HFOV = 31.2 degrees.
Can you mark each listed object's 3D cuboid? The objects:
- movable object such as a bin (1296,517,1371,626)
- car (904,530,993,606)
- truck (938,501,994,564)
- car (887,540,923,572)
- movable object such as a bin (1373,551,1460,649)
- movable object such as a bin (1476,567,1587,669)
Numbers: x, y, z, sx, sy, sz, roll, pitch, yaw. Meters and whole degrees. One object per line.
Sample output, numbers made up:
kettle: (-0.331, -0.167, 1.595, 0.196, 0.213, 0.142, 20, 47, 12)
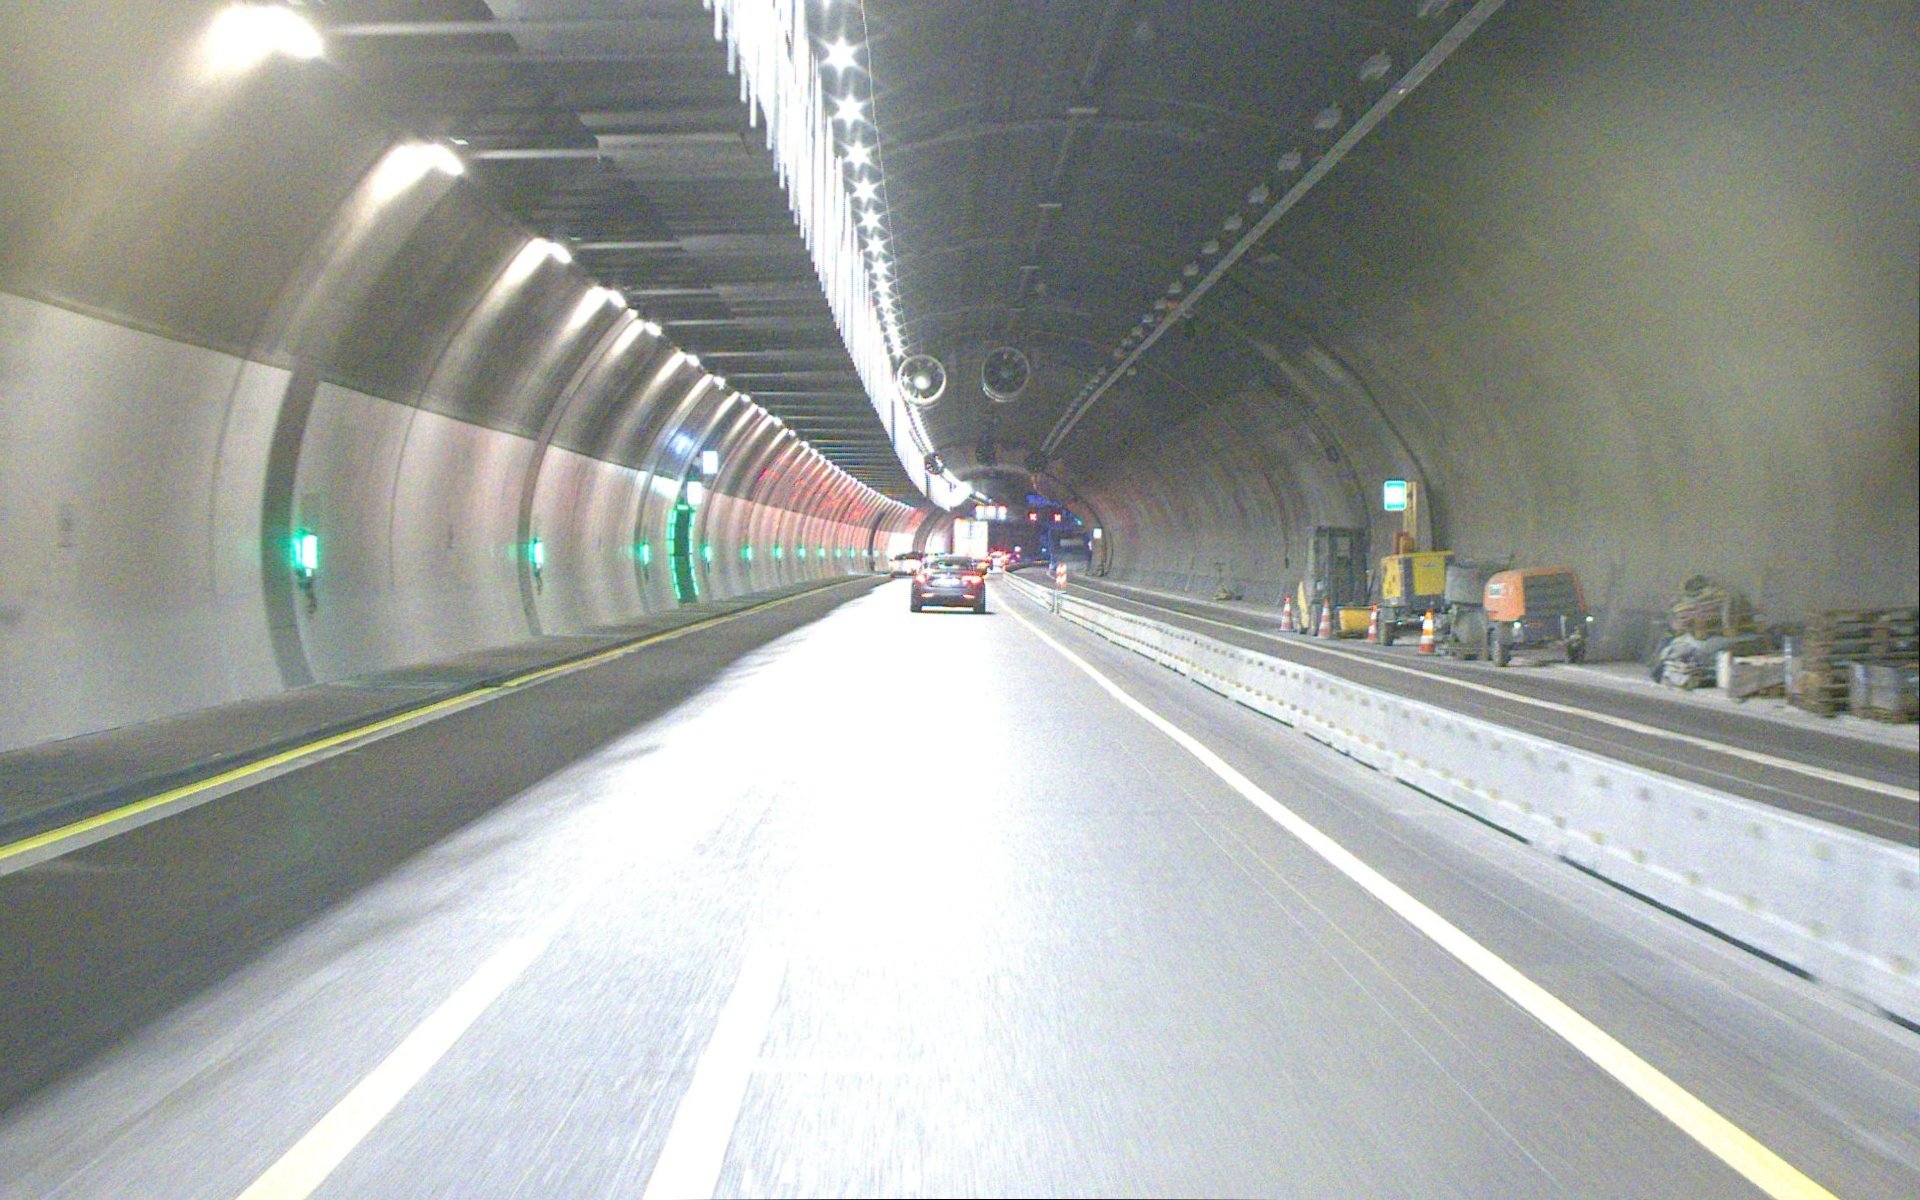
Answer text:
movable object such as a bin: (7.393, -0.574, 68.162, 1.234, 2.133, 2.217, 0, 1, -1)
car: (-0.317, -0.827, 86.616, 1.946, 1.788, 4.001, -2, 1, -4)
truck: (0.421, -5.179, 263.867, 4.066, 4.517, 14.966, -2, 1, 0)
car: (-3.150, -2.535, 197.328, 1.930, 1.681, 4.000, -2, 1, 1)
movable object such as a bin: (8.170, -0.020, 61.604, 1.234, 1.713, 2.217, 0, 1, -1)
movable object such as a bin: (8.330, 0.243, 50.225, 1.234, 1.437, 2.217, 0, 1, -1)
